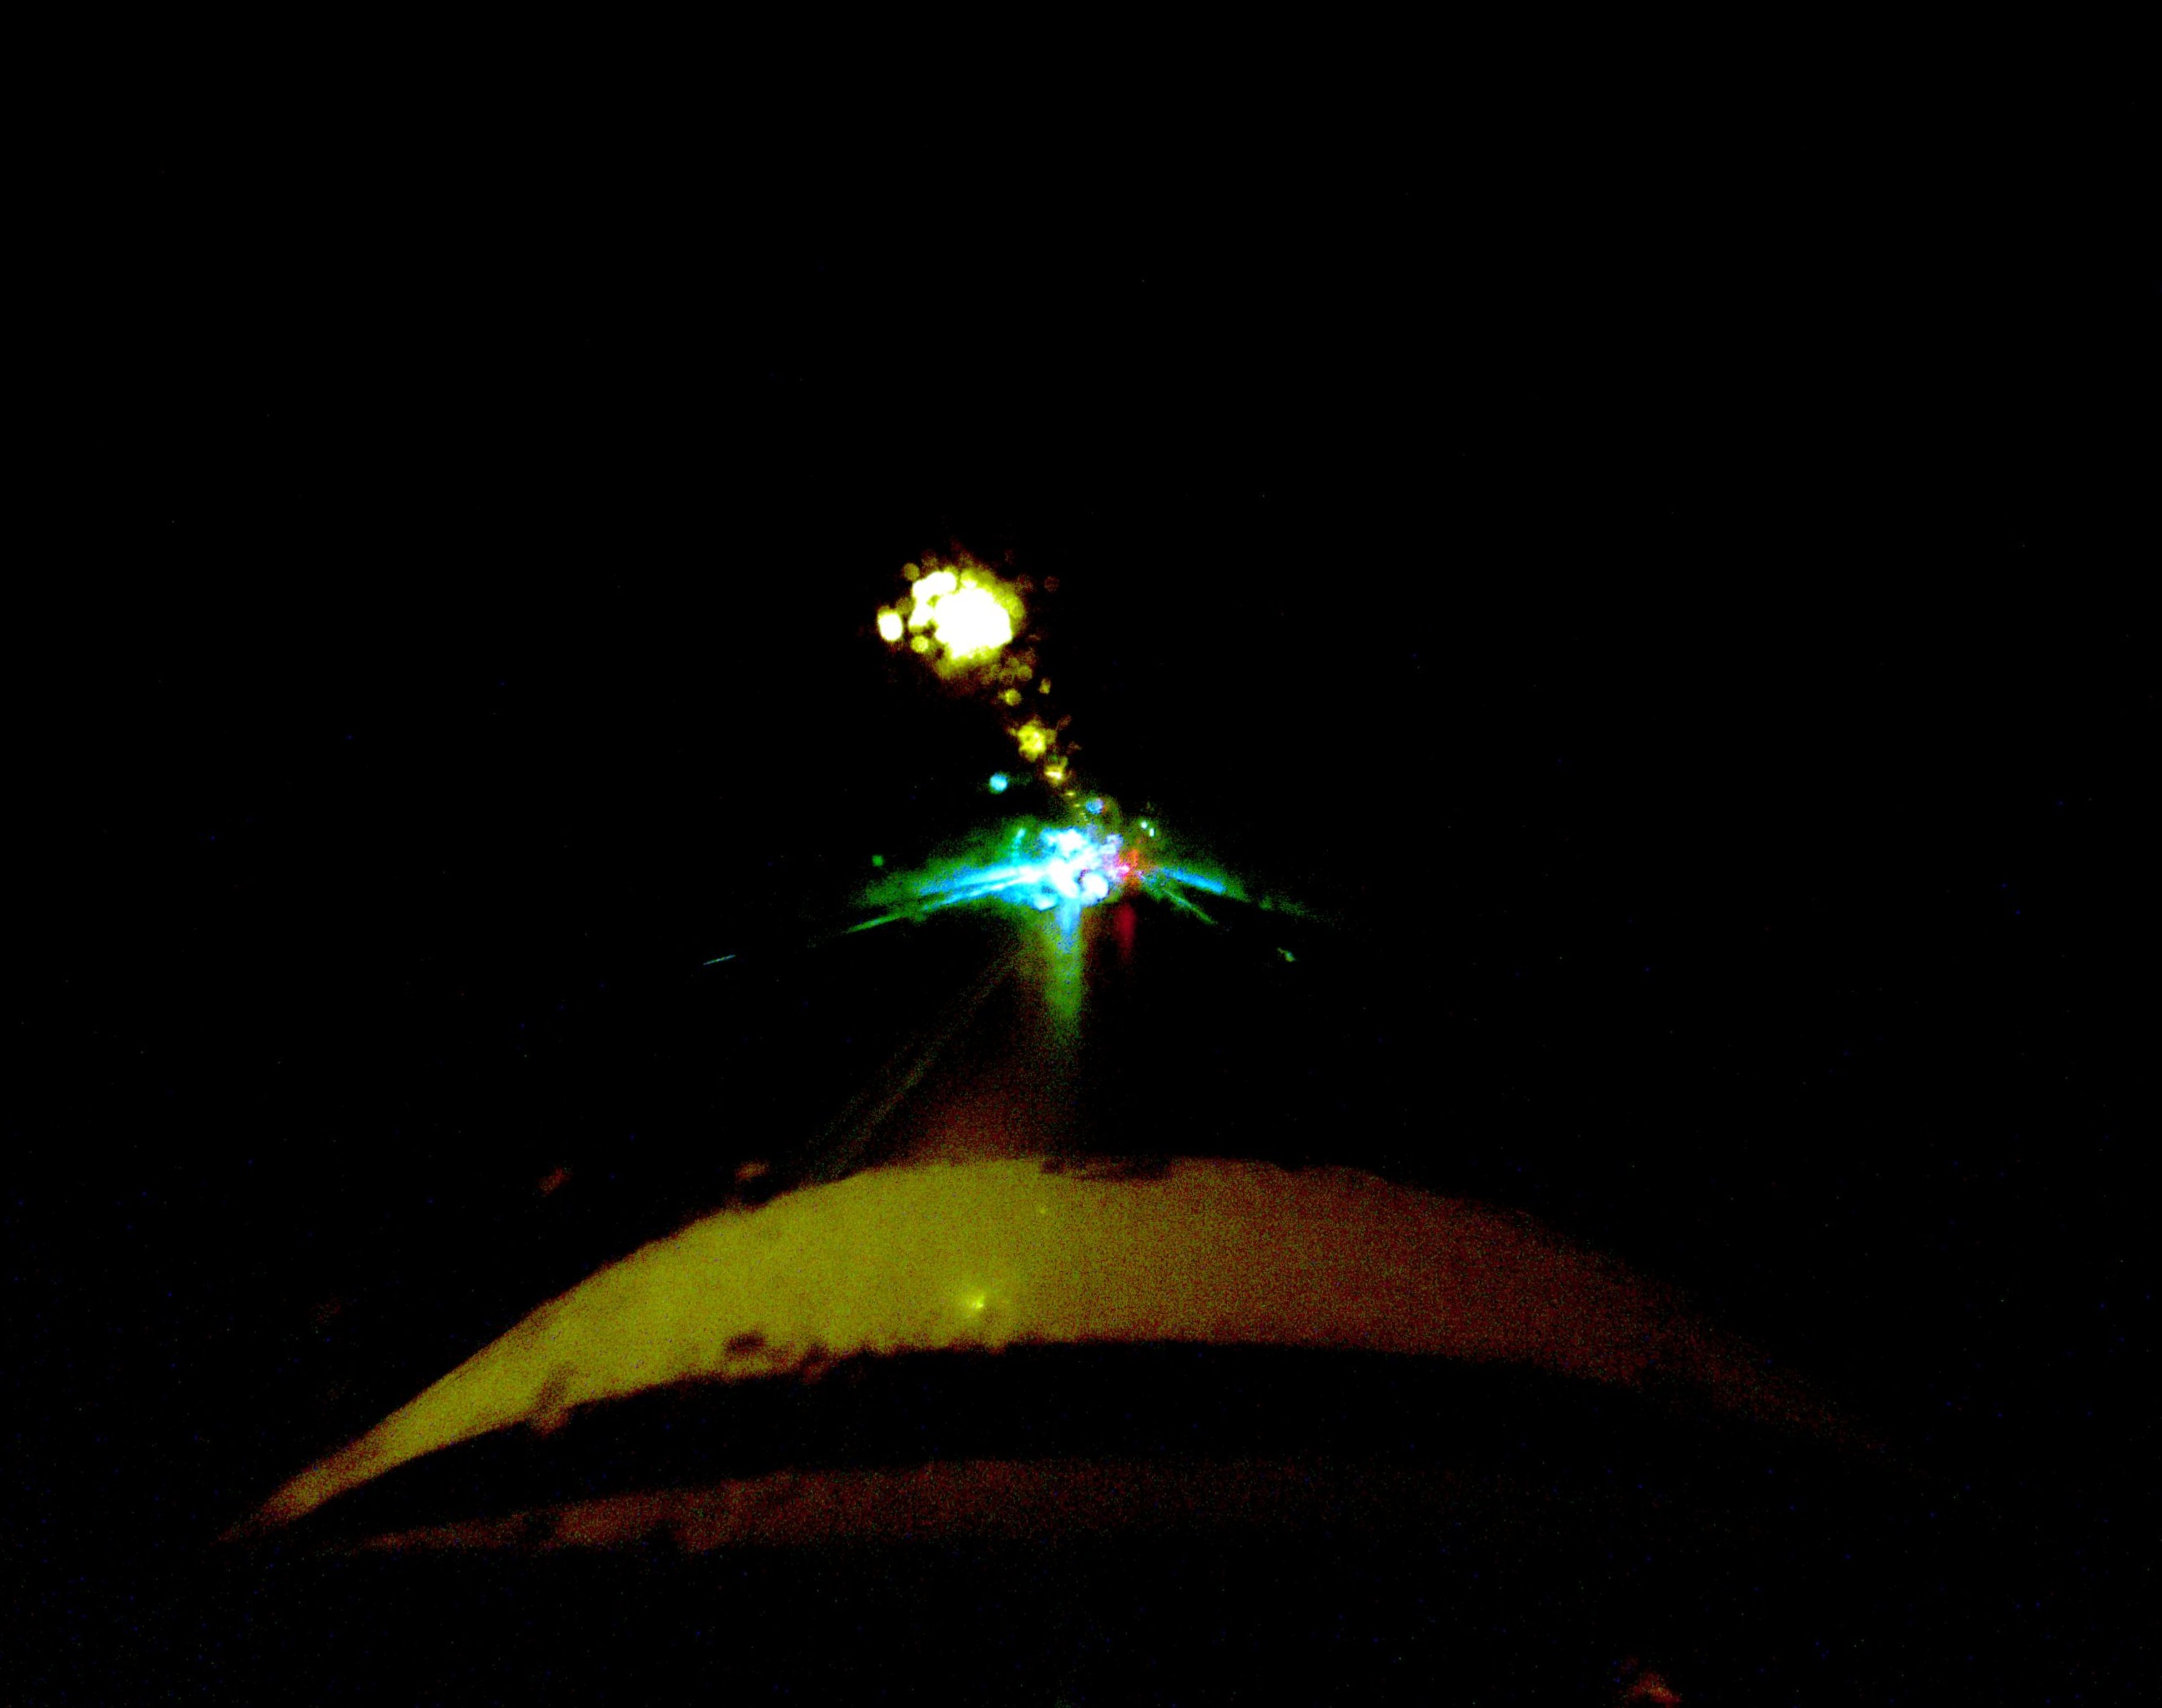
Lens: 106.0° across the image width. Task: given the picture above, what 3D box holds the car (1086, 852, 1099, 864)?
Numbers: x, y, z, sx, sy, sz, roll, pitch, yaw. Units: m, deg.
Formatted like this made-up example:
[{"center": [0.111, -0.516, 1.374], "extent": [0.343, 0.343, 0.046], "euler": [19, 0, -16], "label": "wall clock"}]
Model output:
[{"center": [2.016, 0.733, 146.401], "extent": [2.204, 2.013, 4.001], "euler": [-4, 1, 1], "label": "car"}]

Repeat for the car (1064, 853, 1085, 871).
[{"center": [-0.587, 0.724, 72.735], "extent": [1.772, 1.408, 4.292], "euler": [-4, 1, -1], "label": "car"}]

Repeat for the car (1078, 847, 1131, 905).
[{"center": [0.871, 0.686, 28.607], "extent": [1.628, 1.757, 4.149], "euler": [-3, 1, 3], "label": "car"}]
